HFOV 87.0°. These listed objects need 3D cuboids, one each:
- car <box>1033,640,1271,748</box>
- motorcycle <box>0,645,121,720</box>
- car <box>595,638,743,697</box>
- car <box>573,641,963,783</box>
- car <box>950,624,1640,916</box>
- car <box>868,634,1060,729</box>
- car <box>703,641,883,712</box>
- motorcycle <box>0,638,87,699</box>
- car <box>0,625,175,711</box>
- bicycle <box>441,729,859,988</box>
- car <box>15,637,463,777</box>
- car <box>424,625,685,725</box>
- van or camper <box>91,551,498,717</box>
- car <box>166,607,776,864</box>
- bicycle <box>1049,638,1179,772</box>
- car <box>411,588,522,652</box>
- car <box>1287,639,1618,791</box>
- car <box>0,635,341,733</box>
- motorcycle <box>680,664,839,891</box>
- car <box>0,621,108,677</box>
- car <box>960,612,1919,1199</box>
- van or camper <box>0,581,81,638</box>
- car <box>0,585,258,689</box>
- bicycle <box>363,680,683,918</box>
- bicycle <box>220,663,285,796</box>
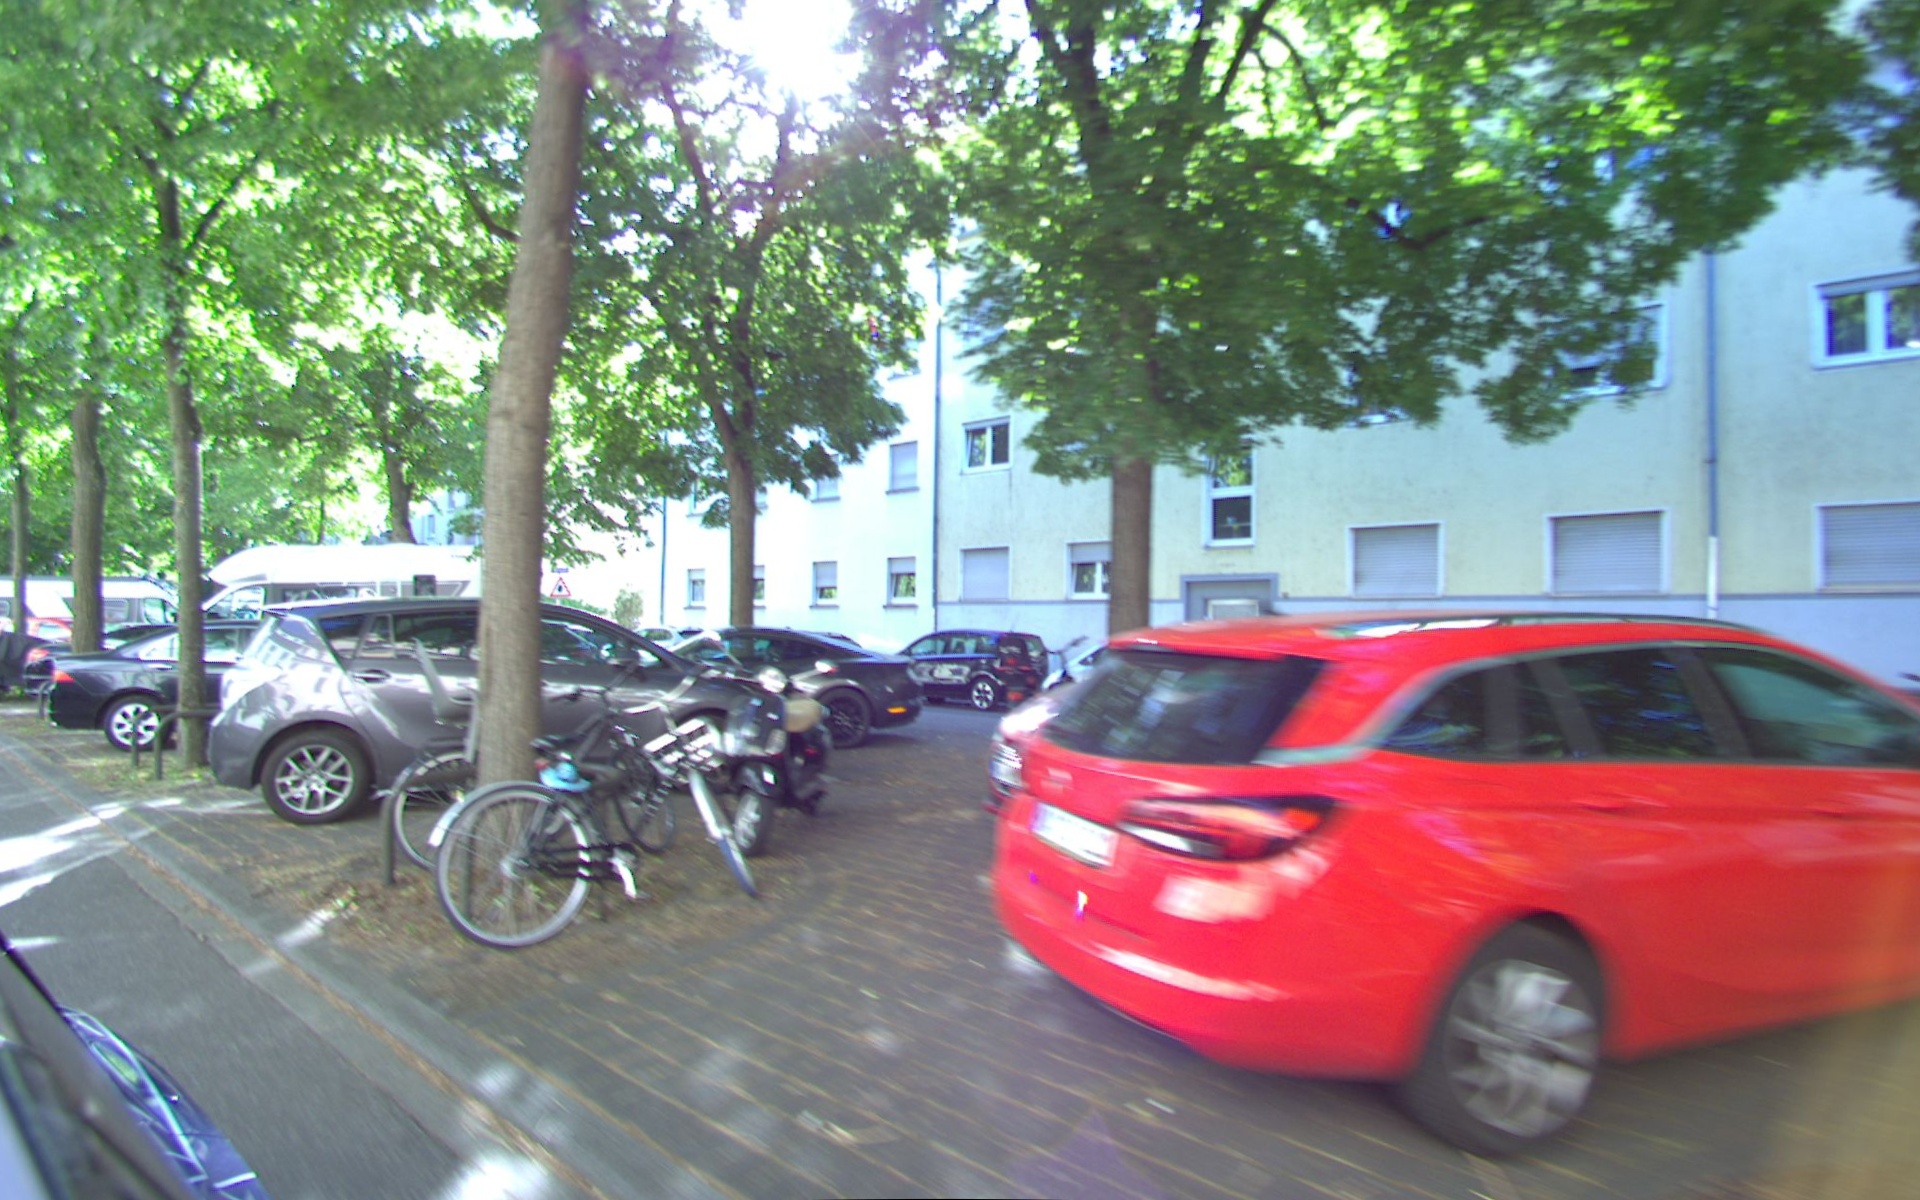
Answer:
[{"bbox_3d":[3.128,1.488,16.815,3.576,1.588,1.600,-2,-4,39],"label":"car"},{"bbox_3d":[-16.208,1.435,17.878,2.120,1.239,0.883,1,-2,-40],"label":"motorcycle"},{"bbox_3d":[-7.764,1.767,26.833,4.077,1.447,1.732,-2,-5,39],"label":"car"},{"bbox_3d":[-2.201,1.199,11.759,4.128,1.401,1.823,0,-2,-15],"label":"car"},{"bbox_3d":[2.154,0.914,6.731,4.045,1.484,1.877,1,-2,-20],"label":"car"},{"bbox_3d":[0.033,1.566,19.801,3.597,1.689,1.459,-2,-6,39],"label":"car"},{"bbox_3d":[-3.862,1.674,23.003,4.300,1.409,1.628,-2,-1,39],"label":"car"},{"bbox_3d":[-21.574,1.543,23.089,0.966,1.345,2.301,-1,-3,32],"label":"motorcycle"},{"bbox_3d":[-18.320,1.340,20.469,3.837,1.630,1.658,0,-3,10],"label":"car"},{"bbox_3d":[-1.423,1.156,4.836,1.871,0.926,0.380,0,-1,-29],"label":"bicycle"},{"bbox_3d":[-8.258,1.217,11.992,3.953,1.485,1.630,1,-3,-13],"label":"car"},{"bbox_3d":[-6.867,1.188,17.197,3.931,1.497,1.836,1,-1,-27],"label":"car"},{"bbox_3d":[-12.468,0.601,19.636,6.197,2.846,2.415,0,-1,-20],"label":"van or camper"},{"bbox_3d":[-3.700,0.917,8.272,4.018,1.665,1.869,0,-1,-22],"label":"car"},{"bbox_3d":[1.522,1.015,10.334,0.350,1.209,1.807,0,-1,-25],"label":"bicycle"},{"bbox_3d":[-16.834,0.728,34.445,3.998,2.029,1.972,-2,-4,41],"label":"car"},{"bbox_3d":[6.677,1.442,13.902,3.833,1.767,1.684,-1,-2,38],"label":"car"},{"bbox_3d":[-12.625,1.304,16.415,4.086,1.436,1.720,1,-2,-17],"label":"car"},{"bbox_3d":[-1.244,1.064,6.587,0.636,1.265,1.513,0,-2,4],"label":"motorcycle"},{"bbox_3d":[-28.667,1.526,30.628,4.030,1.537,1.707,-3,-1,-18],"label":"car"},{"bbox_3d":[2.447,0.807,3.739,4.549,1.497,1.766,0,-1,-19],"label":"car"},{"bbox_3d":[-52.591,0.500,55.610,5.929,3.025,2.407,2,-3,-20],"label":"van or camper"},{"bbox_3d":[-22.596,0.956,26.748,6.220,2.578,2.345,0,-1,-16],"label":"car"},{"bbox_3d":[-2.495,1.087,5.881,1.662,1.167,0.380,0,-1,-29],"label":"bicycle"},{"bbox_3d":[-6.901,1.215,9.910,0.422,1.139,1.683,1,-2,-32],"label":"bicycle"}]
